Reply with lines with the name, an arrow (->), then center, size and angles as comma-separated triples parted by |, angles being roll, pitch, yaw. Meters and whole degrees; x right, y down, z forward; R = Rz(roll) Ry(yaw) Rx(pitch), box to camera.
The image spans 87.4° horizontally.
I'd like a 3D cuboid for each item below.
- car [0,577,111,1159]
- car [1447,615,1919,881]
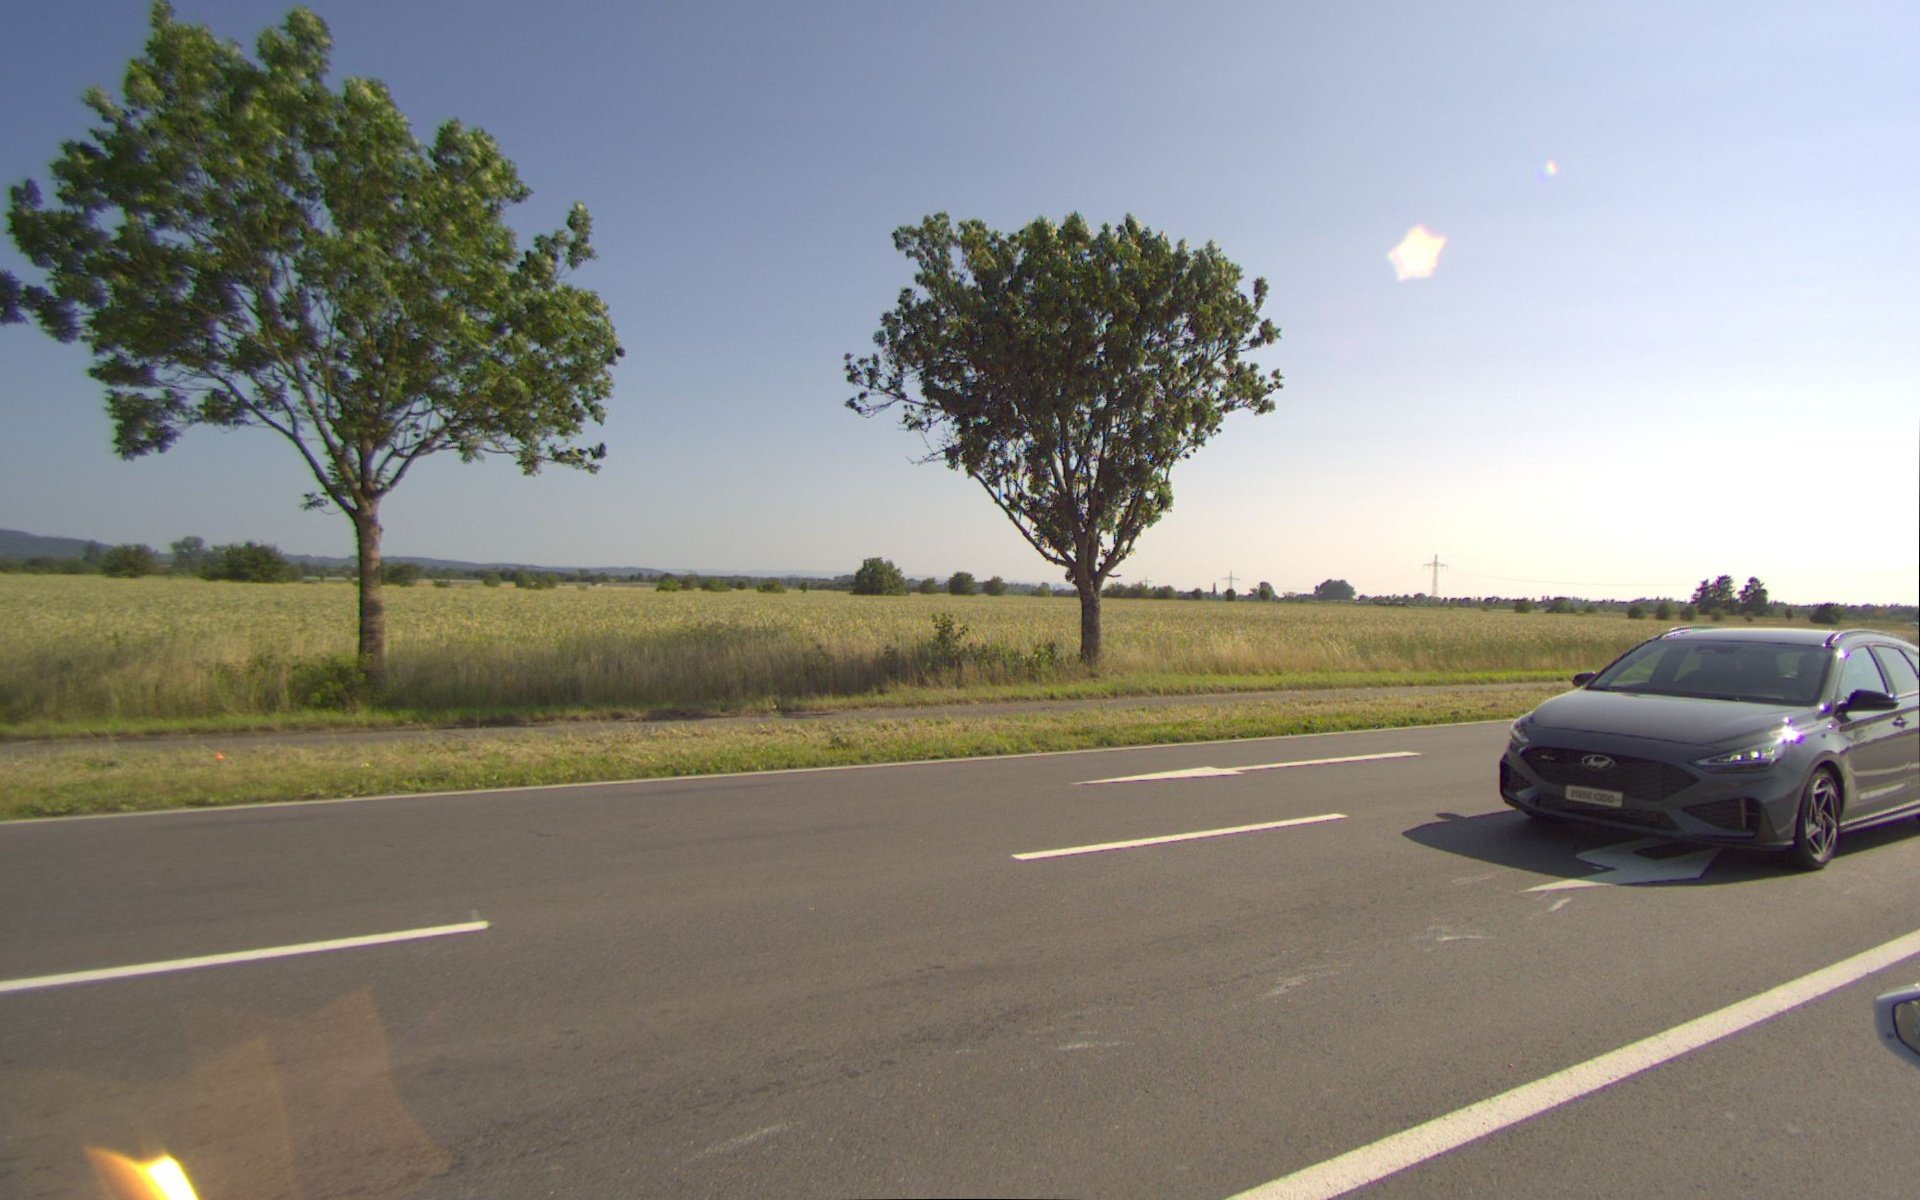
car -> -4.274, 0.634, 1.525 | 4.225, 1.486, 1.881 | 2, -2, -30
car -> 5.814, 0.900, 7.590 | 4.258, 1.480, 1.880 | 2, -1, -32
